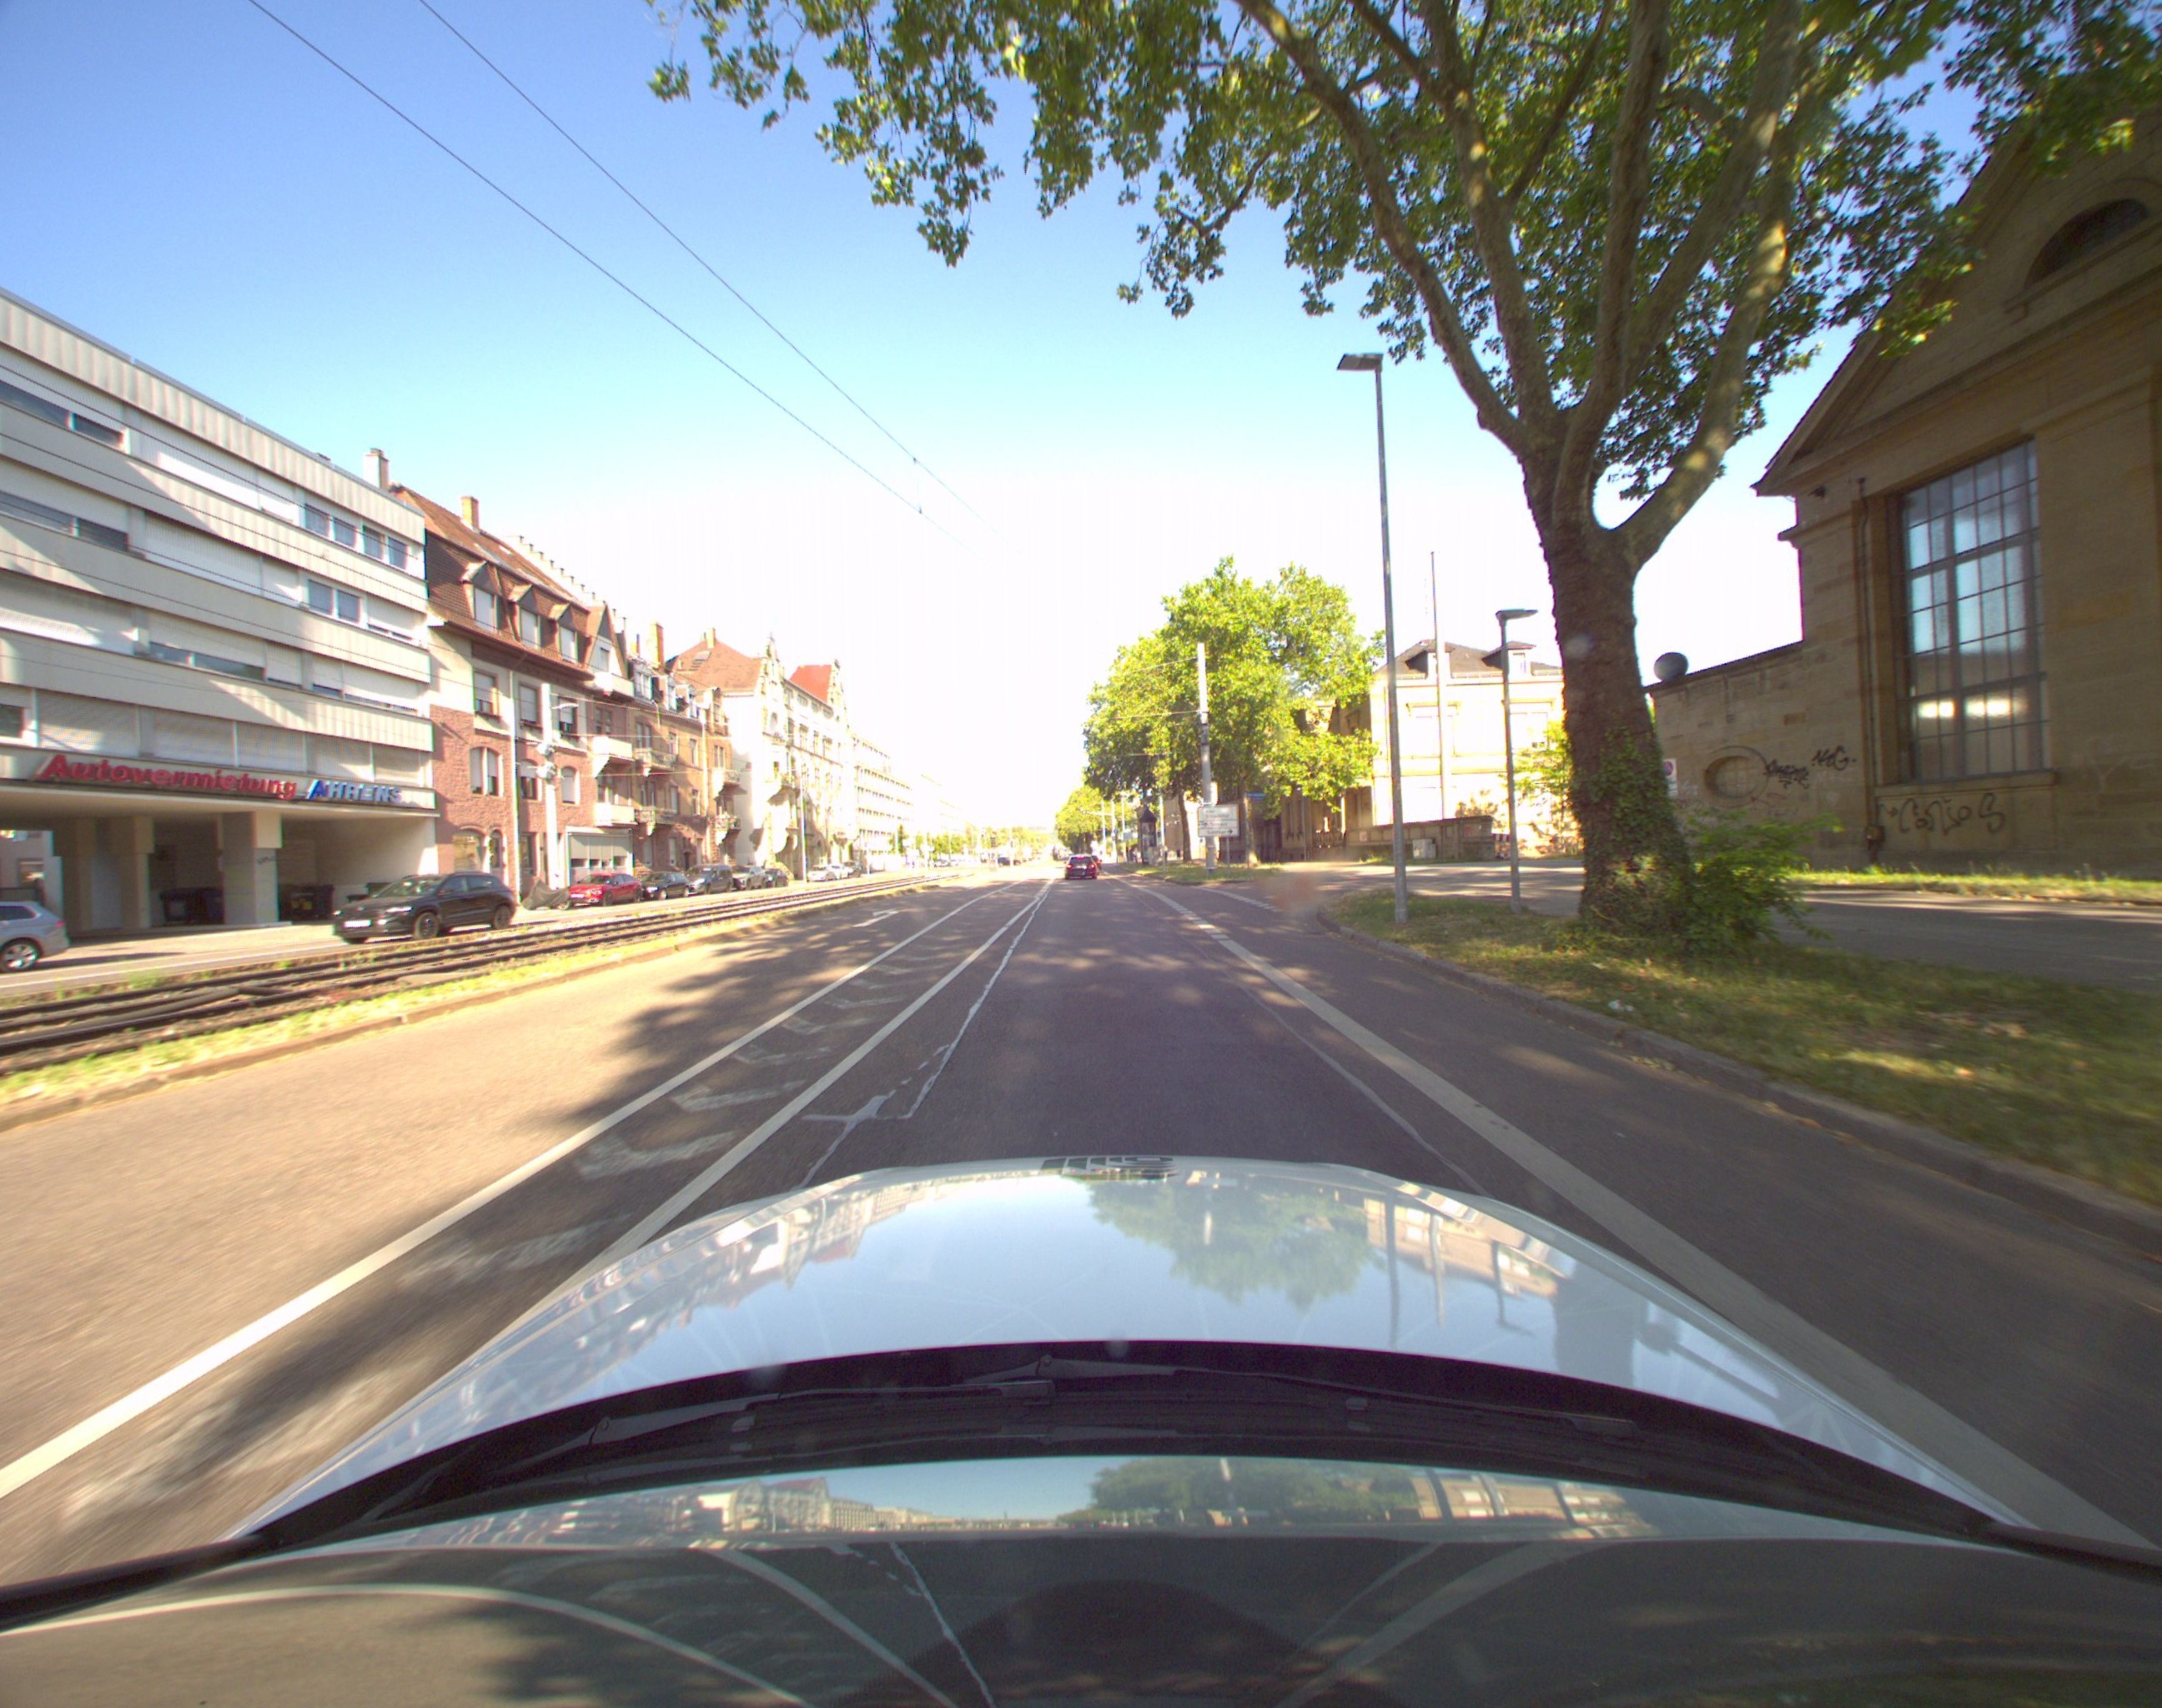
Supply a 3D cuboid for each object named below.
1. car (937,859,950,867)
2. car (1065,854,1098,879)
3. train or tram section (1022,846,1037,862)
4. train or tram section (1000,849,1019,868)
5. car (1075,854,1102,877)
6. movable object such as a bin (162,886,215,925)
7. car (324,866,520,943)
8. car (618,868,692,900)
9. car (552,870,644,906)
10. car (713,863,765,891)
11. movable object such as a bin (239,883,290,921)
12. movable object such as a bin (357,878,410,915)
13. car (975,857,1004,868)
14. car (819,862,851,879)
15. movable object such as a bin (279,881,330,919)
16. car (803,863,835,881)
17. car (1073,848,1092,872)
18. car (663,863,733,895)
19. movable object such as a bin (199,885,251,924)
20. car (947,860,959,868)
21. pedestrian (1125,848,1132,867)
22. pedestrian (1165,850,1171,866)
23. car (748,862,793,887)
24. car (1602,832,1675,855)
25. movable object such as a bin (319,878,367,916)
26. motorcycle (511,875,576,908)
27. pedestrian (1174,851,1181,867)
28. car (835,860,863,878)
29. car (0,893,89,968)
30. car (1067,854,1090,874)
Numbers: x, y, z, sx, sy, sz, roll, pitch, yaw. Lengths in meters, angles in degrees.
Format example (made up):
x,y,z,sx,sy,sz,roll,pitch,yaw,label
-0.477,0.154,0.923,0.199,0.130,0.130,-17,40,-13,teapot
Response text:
x,y,z,sx,sy,sz,roll,pitch,yaw,label
-25.032,1.626,148.546,1.790,1.510,3.995,-2,0,-3,car
-0.038,0.734,48.434,1.828,1.391,4.156,-2,0,-2,car
-12.024,0.056,189.972,2.816,3.451,9.062,-2,0,0,train or tram section
-14.020,0.838,159.470,2.817,3.451,9.060,-2,0,-1,train or tram section
0.524,0.823,57.926,1.789,1.510,3.999,-2,0,0,car
-34.024,1.951,31.063,1.263,1.371,0.635,-2,-1,-2,movable object such as a bin
-16.453,1.186,20.635,1.631,1.601,4.154,-3,0,-3,car
-22.209,1.554,42.664,1.789,1.510,3.998,1,0,-1,car
-22.214,1.522,37.681,1.789,1.460,4.263,1,0,-2,car
-22.289,1.477,53.230,1.682,1.652,4.197,1,0,-1,car
-31.242,1.833,31.174,1.263,1.371,0.635,-2,-1,-2,movable object such as a bin
-27.034,1.648,31.582,1.410,1.371,0.633,-1,0,-8,movable object such as a bin
-13.005,1.157,115.850,1.777,1.510,4.025,-1,-1,39,car
-23.052,1.543,76.476,1.790,1.510,4.181,1,0,-2,car
-29.907,1.772,31.384,1.265,1.371,0.634,-2,-1,-5,movable object such as a bin
-22.803,1.540,70.995,1.791,1.510,3.992,1,0,-5,car
0.104,0.554,81.409,1.789,2.270,3.999,-2,0,0,car
-22.179,1.417,47.391,1.787,1.754,4.457,1,0,2,car
-32.687,1.920,31.101,1.263,1.371,0.635,-2,-1,-2,movable object such as a bin
-24.448,1.931,155.162,1.790,1.510,3.995,-2,0,-3,car
4.540,0.341,77.571,0.584,1.728,0.652,0,0,11,pedestrian
9.551,0.392,89.374,0.584,1.728,0.652,0,0,11,pedestrian
-22.488,1.450,59.159,1.682,1.652,4.197,1,0,-1,car
40.705,-0.717,59.603,4.079,1.510,1.809,-2,-1,21,car
-28.469,1.656,31.431,1.192,1.371,0.633,-1,0,-8,movable object such as a bin
-22.488,1.572,34.127,2.072,1.327,0.836,1,0,-17,motorcycle
10.559,0.590,89.119,0.584,1.728,0.652,0,0,13,pedestrian
-23.336,1.453,82.035,1.790,1.719,4.181,1,0,-2,car
-21.938,1.541,14.915,1.828,1.391,4.679,-2,0,-2,car
-0.245,0.833,67.273,1.789,1.510,3.999,-2,0,0,car
